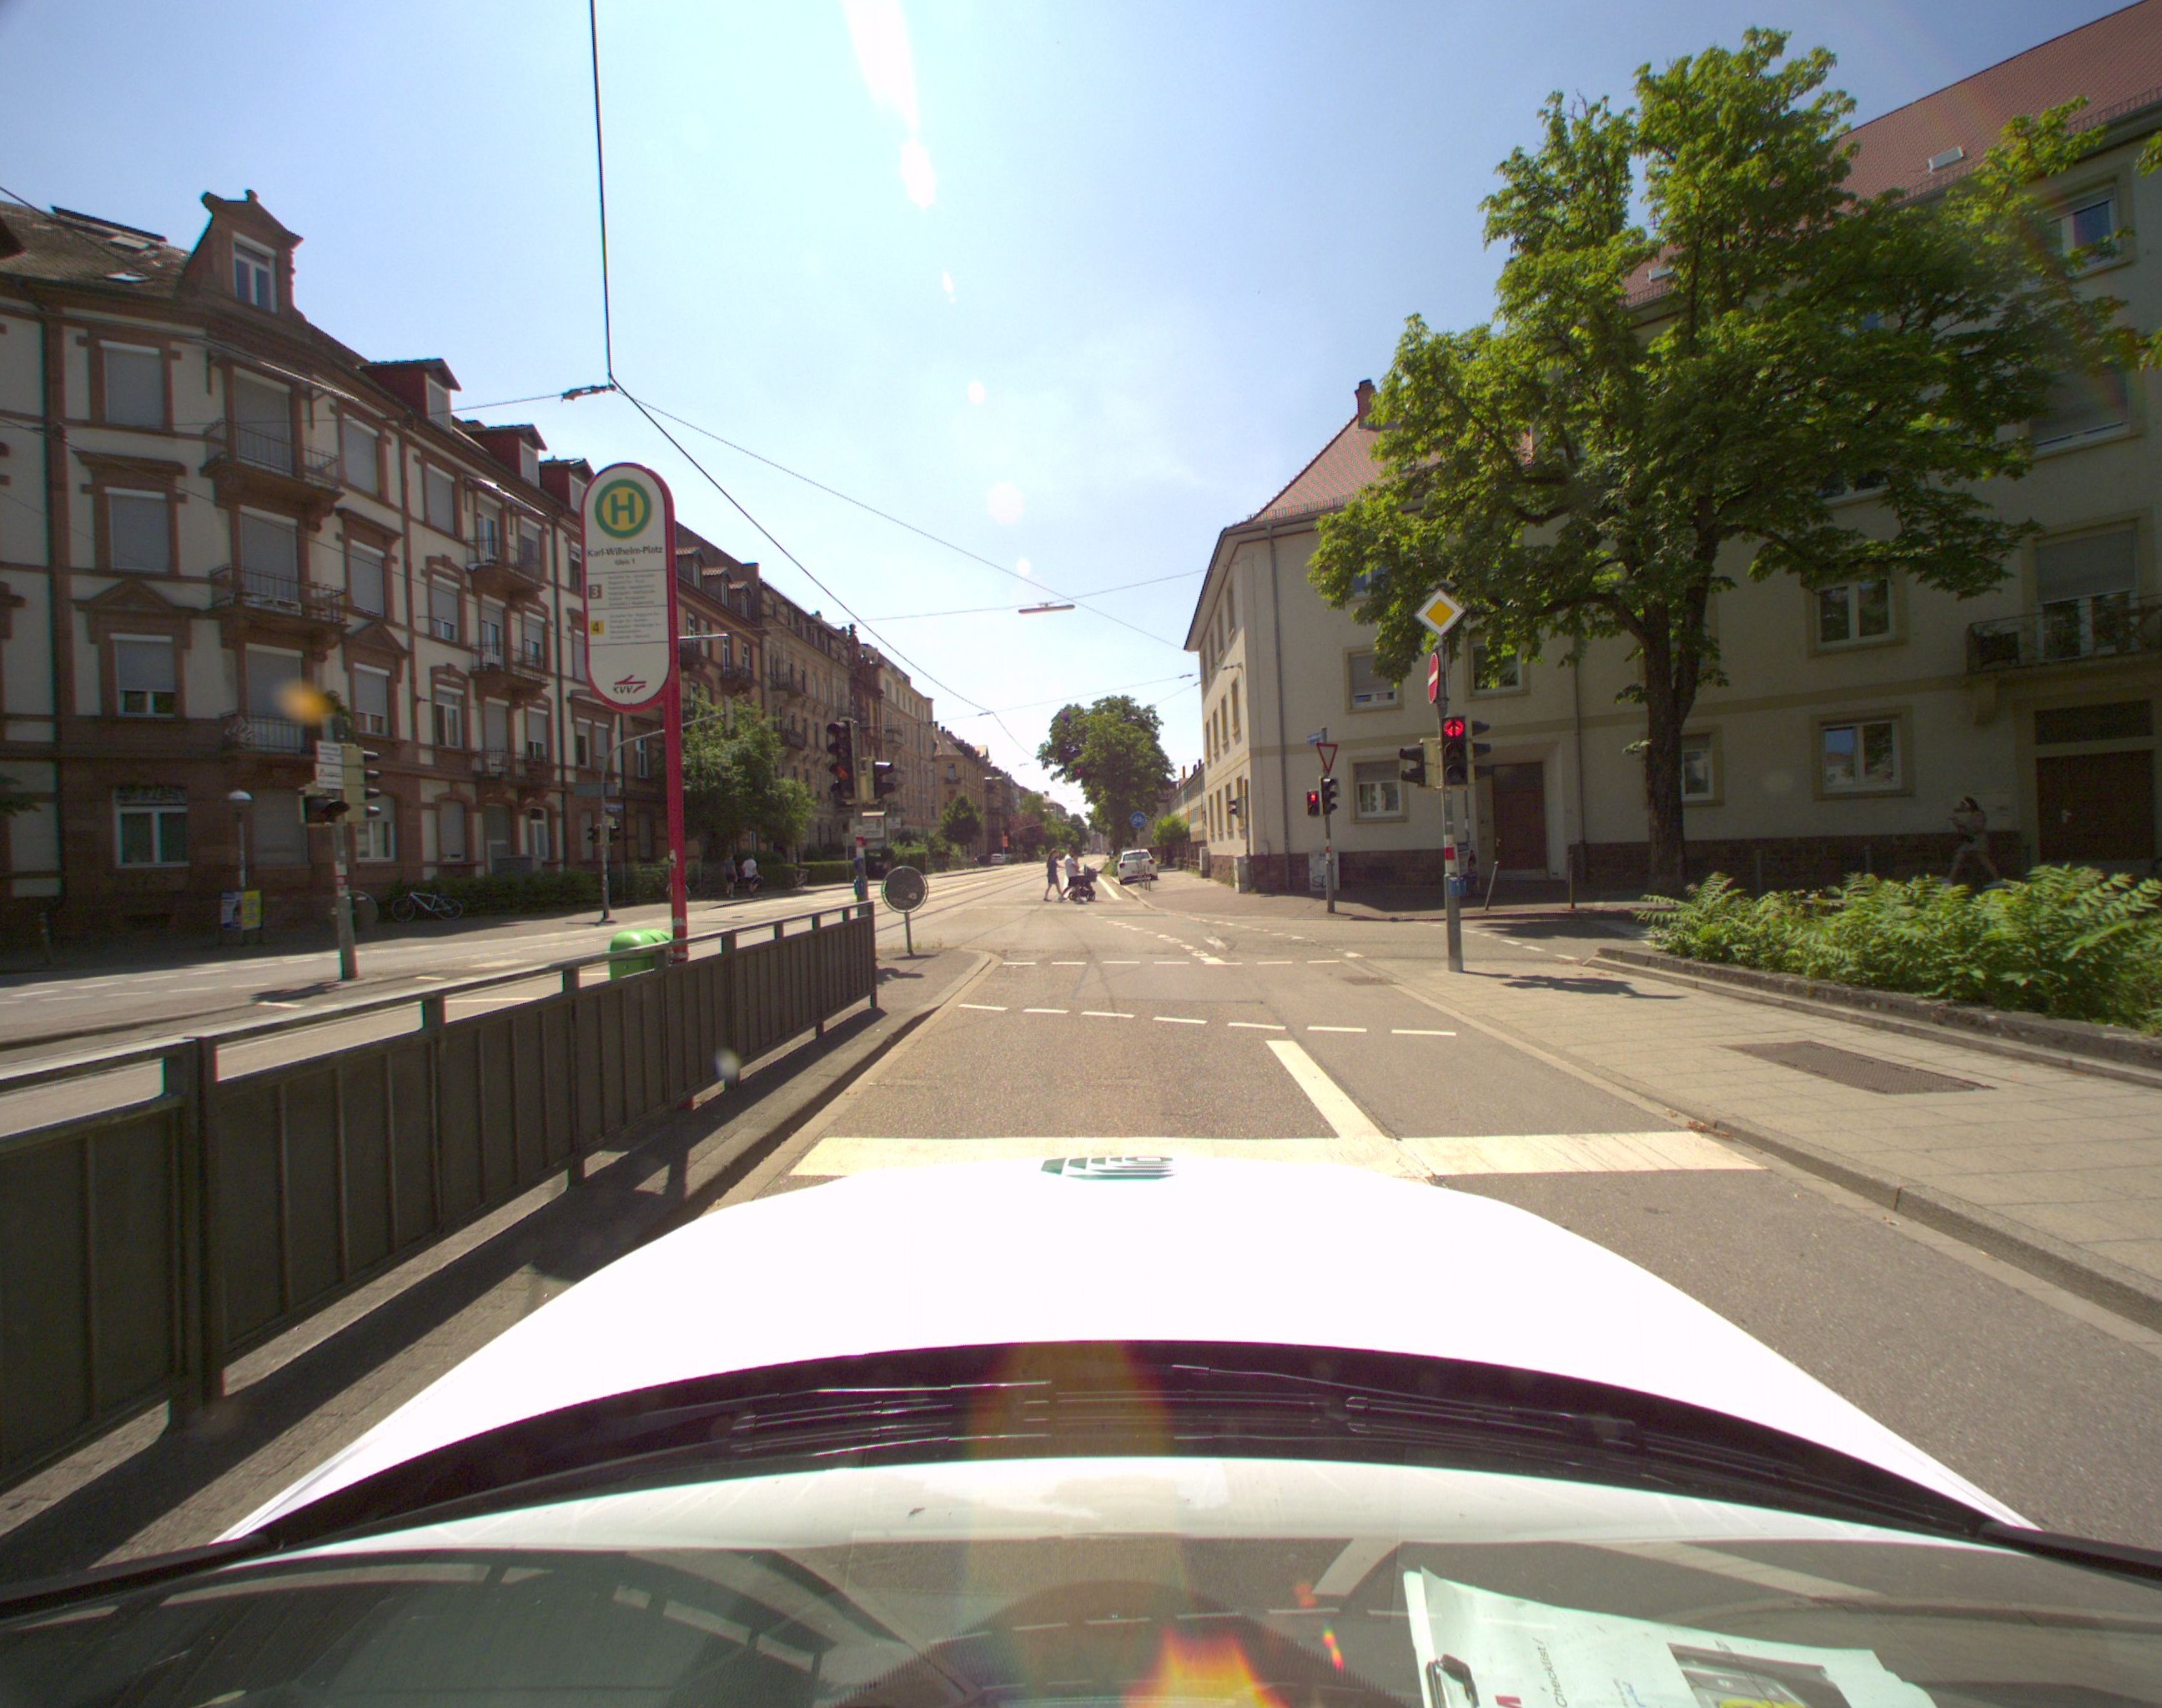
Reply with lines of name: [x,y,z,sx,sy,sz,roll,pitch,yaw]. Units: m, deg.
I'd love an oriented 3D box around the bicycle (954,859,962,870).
bicycle: [-12.149,1.034,80.505,0.677,1.064,1.912,-2,0,-9]

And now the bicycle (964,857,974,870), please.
bicycle: [-11.705,0.962,85.142,0.675,1.278,1.918,-2,0,-1]

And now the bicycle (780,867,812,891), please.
bicycle: [-14.398,1.259,41.261,0.936,1.136,2.767,0,-1,-7]

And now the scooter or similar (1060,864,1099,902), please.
scooter or similar: [-0.044,0.914,25.732,1.199,1.155,0.557,0,-1,-5]

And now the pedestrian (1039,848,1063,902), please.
pedestrian: [-0.939,0.653,25.539,0.672,1.645,0.559,0,-1,2]

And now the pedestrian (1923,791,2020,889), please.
pedestrian: [16.475,-0.252,15.096,1.043,1.690,0.658,-5,3,39]

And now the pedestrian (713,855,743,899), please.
pedestrian: [-14.778,0.943,34.100,0.812,1.822,0.875,0,1,5]

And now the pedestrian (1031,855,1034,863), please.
pedestrian: [-8.474,0.851,143.345,0.404,1.461,0.436,-2,0,1]

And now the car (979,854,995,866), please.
car: [-14.328,0.901,124.473,1.912,1.715,4.001,0,-1,2]

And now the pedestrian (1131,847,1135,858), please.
pedestrian: [7.353,-0.166,114.987,0.519,1.562,0.573,-2,0,1]

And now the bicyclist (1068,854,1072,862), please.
bicyclist: [-2.564,1.011,190.134,0.724,1.818,1.080,0,-1,3]

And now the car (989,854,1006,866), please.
car: [-11.876,0.815,116.071,1.912,1.715,4.001,0,-1,2]

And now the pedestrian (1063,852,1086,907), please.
pedestrian: [-0.192,0.762,24.737,0.672,1.645,0.559,0,-1,2]

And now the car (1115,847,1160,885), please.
car: [2.529,0.534,37.423,1.808,1.516,4.001,-4,-1,2]

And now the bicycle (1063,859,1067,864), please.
bicycle: [-3.782,1.738,190.299,0.724,1.123,2.087,0,-1,4]

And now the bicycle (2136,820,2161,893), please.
bicycle: [17.014,0.023,12.090,0.527,1.104,1.589,-2,0,-34]

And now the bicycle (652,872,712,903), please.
bicycle: [-15.666,1.304,32.088,0.934,1.136,2.774,0,-1,1]

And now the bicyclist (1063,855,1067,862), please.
bicyclist: [-3.784,1.040,190.373,0.724,1.818,1.080,0,-1,3]

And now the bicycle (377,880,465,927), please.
bicycle: [-19.551,1.442,24.166,0.557,1.294,1.975,-1,-1,43]

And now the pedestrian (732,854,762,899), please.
pedestrian: [-13.996,0.933,34.110,0.812,1.822,0.875,0,1,5]

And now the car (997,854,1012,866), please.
car: [-11.655,0.880,124.335,1.912,1.715,4.001,0,-1,2]
